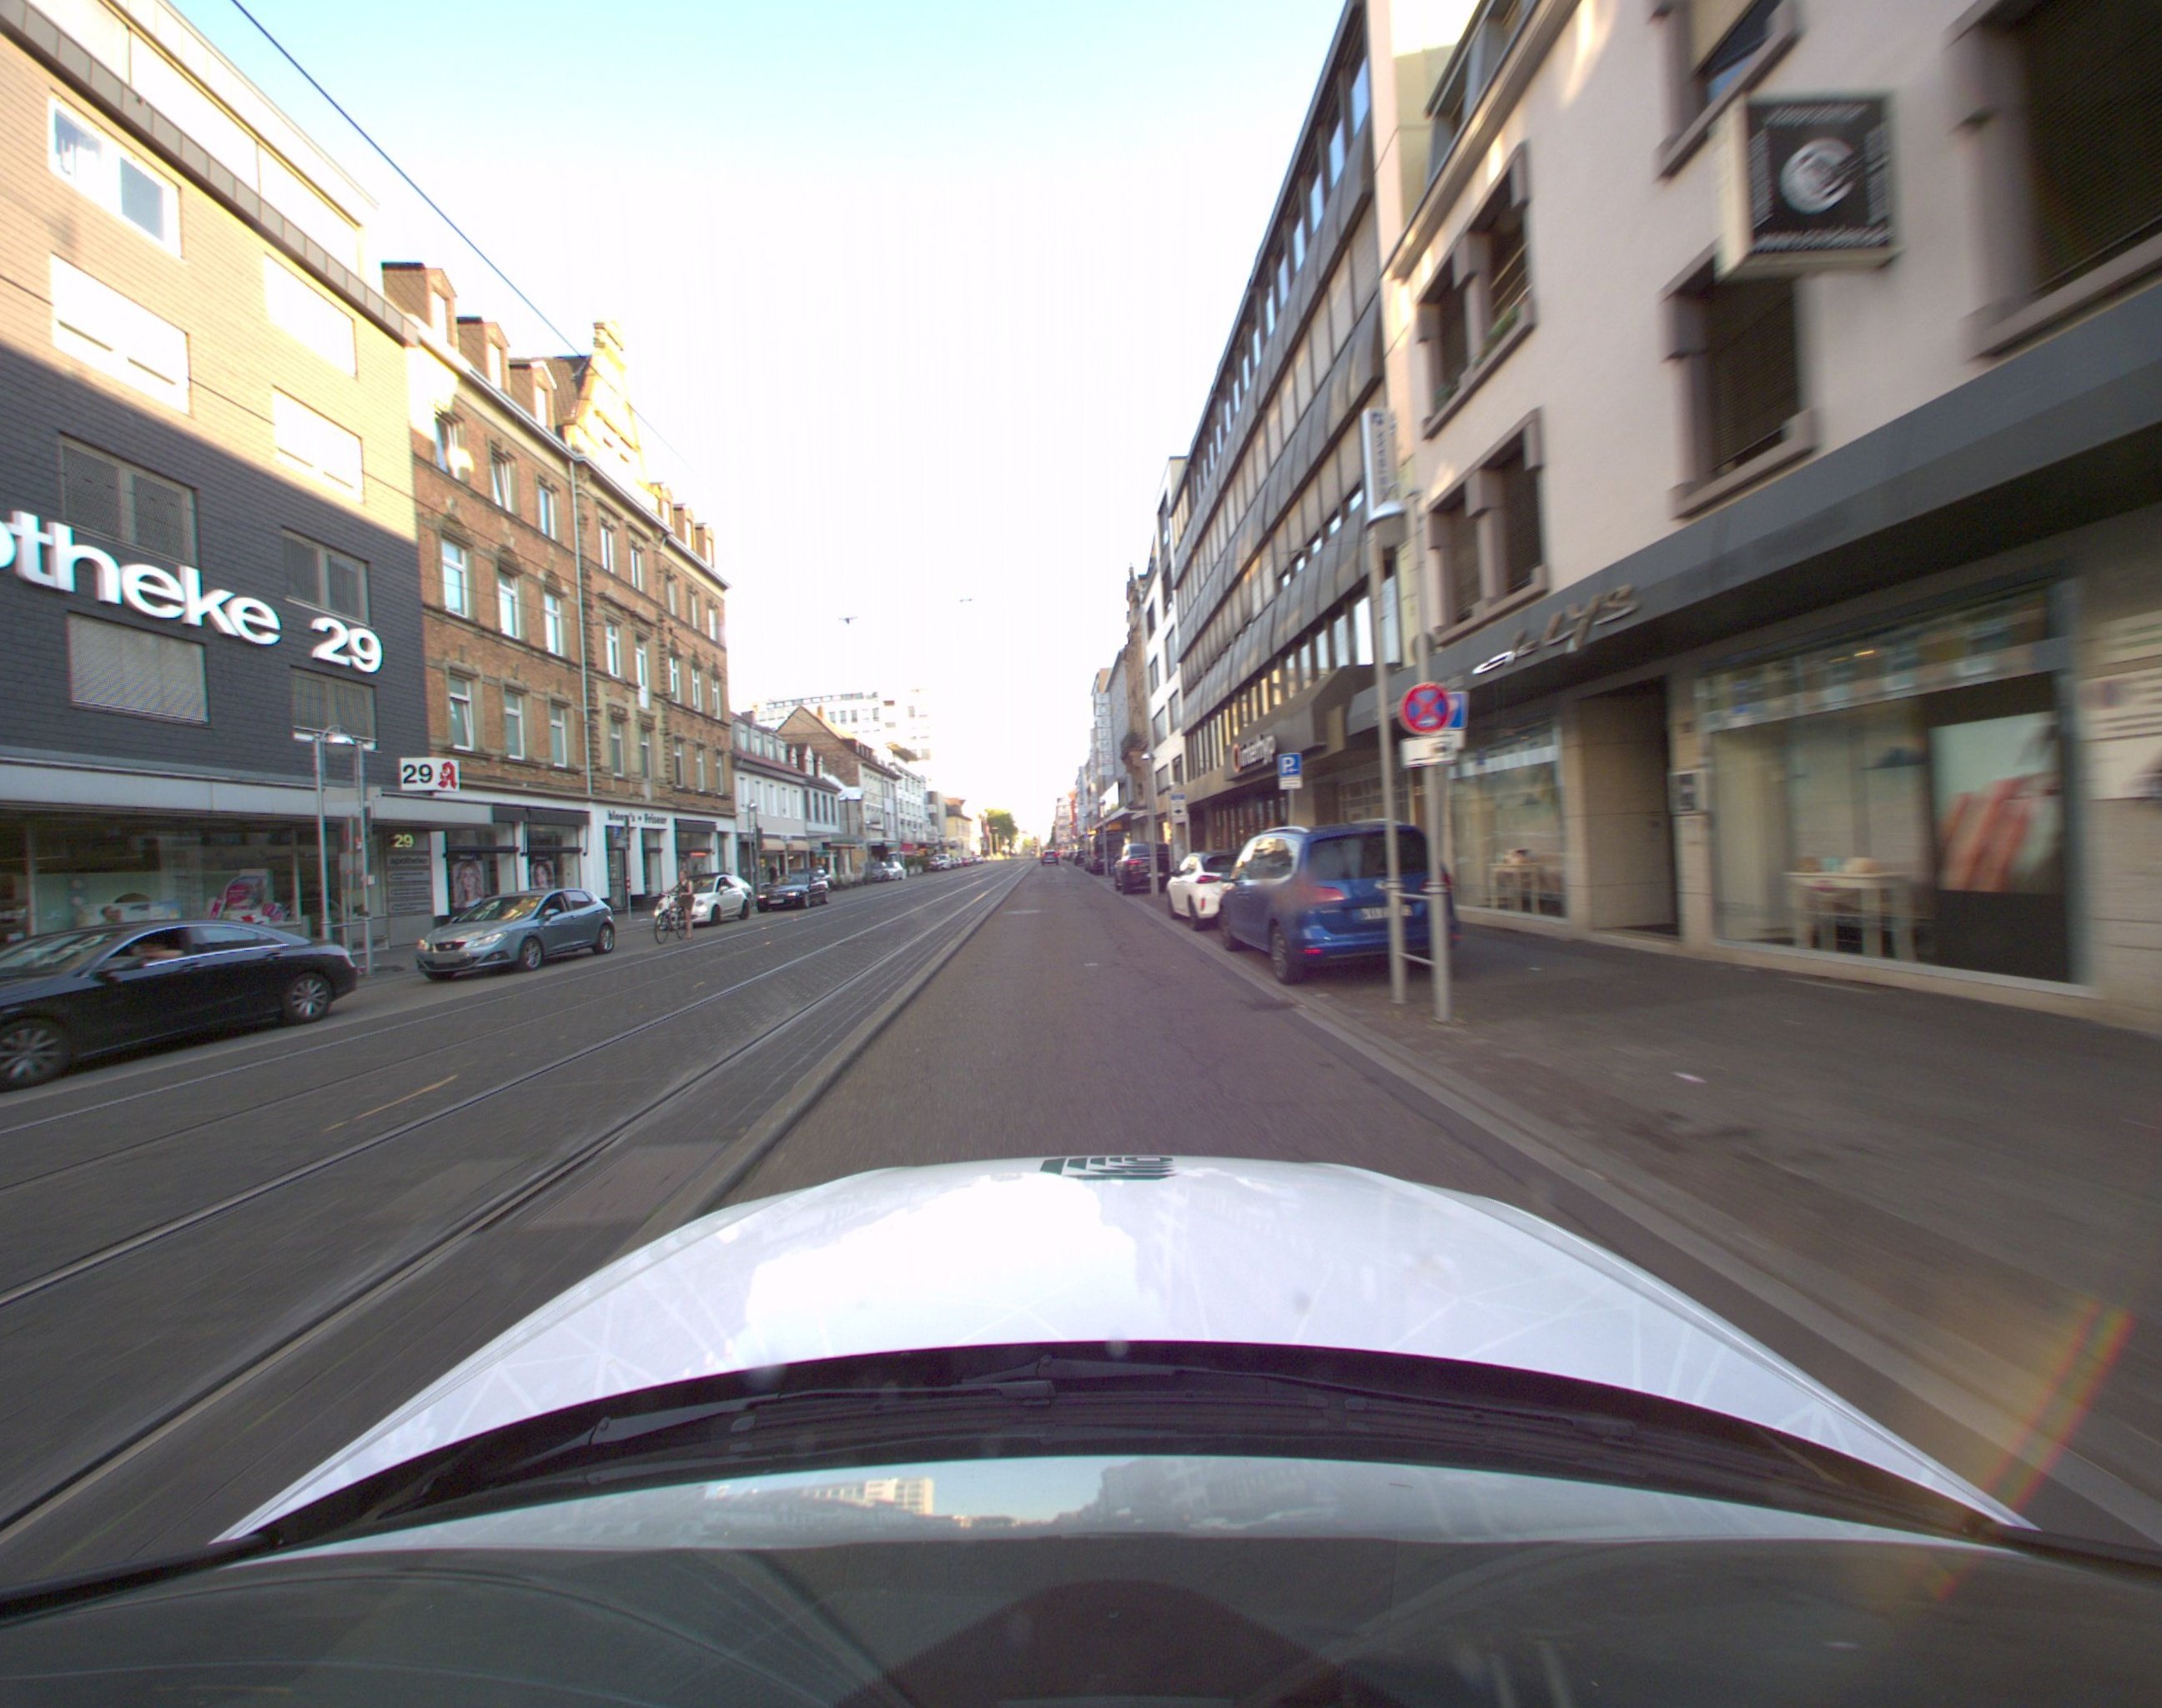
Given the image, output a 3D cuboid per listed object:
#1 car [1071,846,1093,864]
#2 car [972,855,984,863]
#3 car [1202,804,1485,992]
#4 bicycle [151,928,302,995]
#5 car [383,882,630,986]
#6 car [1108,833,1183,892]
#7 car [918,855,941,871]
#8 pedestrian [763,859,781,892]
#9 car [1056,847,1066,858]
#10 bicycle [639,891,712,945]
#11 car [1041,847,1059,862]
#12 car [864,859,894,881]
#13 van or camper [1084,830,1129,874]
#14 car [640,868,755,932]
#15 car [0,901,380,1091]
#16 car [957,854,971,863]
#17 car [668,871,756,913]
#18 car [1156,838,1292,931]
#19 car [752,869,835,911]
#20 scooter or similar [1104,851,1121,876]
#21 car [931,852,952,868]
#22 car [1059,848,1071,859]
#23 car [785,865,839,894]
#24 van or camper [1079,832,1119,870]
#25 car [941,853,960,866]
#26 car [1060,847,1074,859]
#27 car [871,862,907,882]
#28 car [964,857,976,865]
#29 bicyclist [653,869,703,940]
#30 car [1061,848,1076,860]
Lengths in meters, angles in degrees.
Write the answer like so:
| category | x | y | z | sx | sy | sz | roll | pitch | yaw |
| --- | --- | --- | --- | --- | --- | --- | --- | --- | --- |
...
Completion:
| category | x | y | z | sx | sy | sz | roll | pitch | yaw |
| --- | --- | --- | --- | --- | --- | --- | --- | --- | --- |
| car | 0.104 | 0.066 | 80.734 | 1.939 | 1.544 | 4.541 | -5 | 0 | -2 |
| car | -18.696 | 0.902 | 147.687 | 1.787 | 1.449 | 3.887 | -1 | 0 | -3 |
| car | 2.992 | 0.426 | 10.479 | 1.910 | 1.717 | 4.560 | -5 | 0 | -2 |
| bicycle | -13.712 | 1.721 | 13.093 | 1.851 | 0.983 | 0.462 | 0 | 0 | -3 |
| car | -10.530 | 1.379 | 15.375 | 1.754 | 1.386 | 4.058 | -5 | 0 | -2 |
| car | 2.155 | 0.260 | 28.539 | 1.979 | 1.734 | 4.667 | -5 | 0 | -2 |
| car | -16.916 | 1.000 | 91.173 | 1.912 | 1.763 | 4.426 | -1 | 0 | -2 |
| pedestrian | -17.076 | 1.183 | 44.971 | 0.646 | 1.772 | 0.854 | -2 | 0 | -2 |
| car | -4.429 | -0.412 | 178.720 | 1.939 | 2.145 | 4.541 | -5 | 0 | -2 |
| bicycle | -9.299 | 1.442 | 18.757 | 0.692 | 1.034 | 2.079 | -3 | 0 | -4 |
| car | -3.444 | 0.010 | 91.119 | 1.938 | 1.545 | 4.541 | -3 | 0 | -2 |
| car | -14.861 | 1.168 | 59.996 | 1.588 | 1.504 | 2.809 | -1 | 0 | -3 |
| van or camper | 1.558 | -0.149 | 51.685 | 2.184 | 2.426 | 6.126 | -5 | 0 | -3 |
| car | -11.258 | 1.289 | 24.178 | 1.663 | 1.505 | 3.676 | -5 | 0 | -3 |
| car | -10.332 | 1.425 | 8.578 | 1.910 | 1.386 | 4.560 | -5 | 0 | -2 |
| car | -17.701 | 0.674 | 123.130 | 1.787 | 1.339 | 3.887 | -1 | 0 | -3 |
| car | -14.285 | 1.422 | 31.811 | 1.756 | 1.389 | 4.267 | -1 | 0 | -4 |
| car | 2.705 | 0.528 | 16.328 | 1.762 | 1.485 | 3.868 | -5 | 0 | -3 |
| car | -10.719 | 1.299 | 30.641 | 1.663 | 1.228 | 4.269 | -5 | 0 | -3 |
| scooter or similar | 1.700 | 0.500 | 43.638 | 0.351 | 1.224 | 1.123 | -5 | 0 | 30 |
| car | -16.929 | 0.705 | 99.080 | 1.912 | 1.935 | 4.838 | -1 | 0 | -2 |
| car | -2.778 | -0.044 | 140.296 | 1.939 | 1.703 | 4.541 | -5 | 0 | -2 |
| car | -14.484 | 1.356 | 44.040 | 1.729 | 1.389 | 3.861 | -1 | 0 | -2 |
| van or camper | 1.237 | -0.208 | 58.050 | 2.184 | 2.426 | 5.510 | -5 | 0 | -4 |
| car | -17.160 | 0.701 | 107.004 | 1.913 | 1.521 | 4.624 | -1 | 0 | -3 |
| car | -2.145 | -0.128 | 123.893 | 1.939 | 1.544 | 4.541 | -5 | 0 | -2 |
| car | -15.170 | 1.397 | 64.501 | 1.845 | 1.504 | 4.838 | -1 | 0 | -2 |
| car | -19.254 | 1.185 | 141.593 | 1.787 | 1.449 | 3.887 | -1 | 0 | -3 |
| bicyclist | -9.316 | 1.150 | 18.848 | 0.692 | 1.565 | 0.798 | -3 | 0 | -4 |
| car | -1.831 | 0.042 | 118.786 | 1.939 | 1.544 | 4.541 | -5 | 0 | -2 |
